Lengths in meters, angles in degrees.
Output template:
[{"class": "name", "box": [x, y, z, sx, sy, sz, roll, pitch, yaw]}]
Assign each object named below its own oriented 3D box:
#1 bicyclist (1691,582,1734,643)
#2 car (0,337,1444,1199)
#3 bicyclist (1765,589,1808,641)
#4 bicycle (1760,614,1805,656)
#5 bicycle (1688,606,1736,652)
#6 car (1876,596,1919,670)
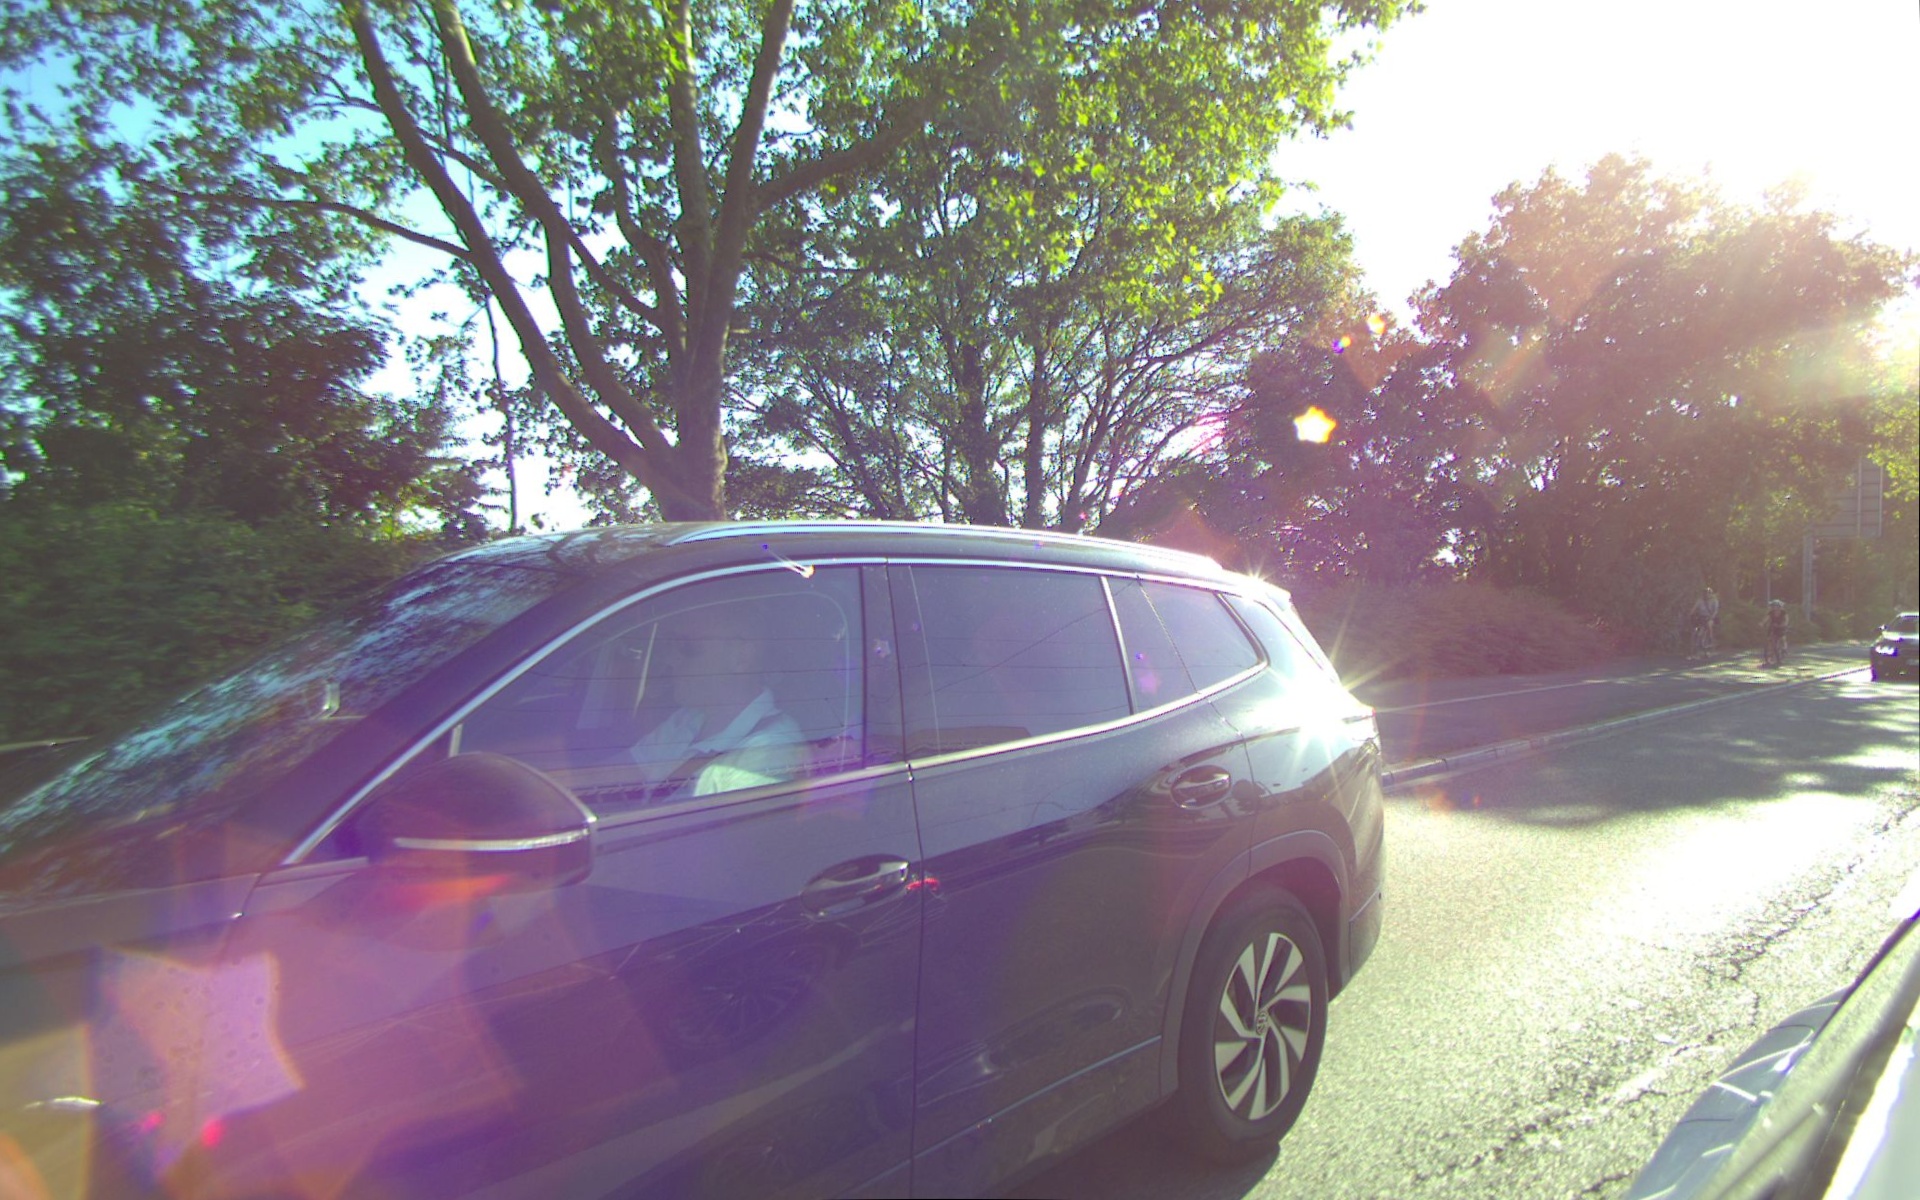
[{"class": "bicyclist", "box": [19.529, 0.313, 26.252, 0.875, 1.527, 0.687, 1, 1, -41]}, {"class": "car", "box": [-0.660, 0.554, 2.534, 4.363, 1.682, 1.847, 0, 1, -42]}, {"class": "bicyclist", "box": [20.665, 0.377, 25.304, 0.875, 1.241, 0.642, 1, 1, -41]}, {"class": "bicycle", "box": [20.426, 0.848, 25.116, 1.757, 0.986, 0.566, 0, 1, -42]}, {"class": "bicycle", "box": [19.486, 0.739, 26.220, 1.781, 1.134, 0.623, 1, 1, -42]}, {"class": "car", "box": [21.389, 0.669, 21.861, 4.506, 1.486, 1.869, 0, 0, -41]}]
